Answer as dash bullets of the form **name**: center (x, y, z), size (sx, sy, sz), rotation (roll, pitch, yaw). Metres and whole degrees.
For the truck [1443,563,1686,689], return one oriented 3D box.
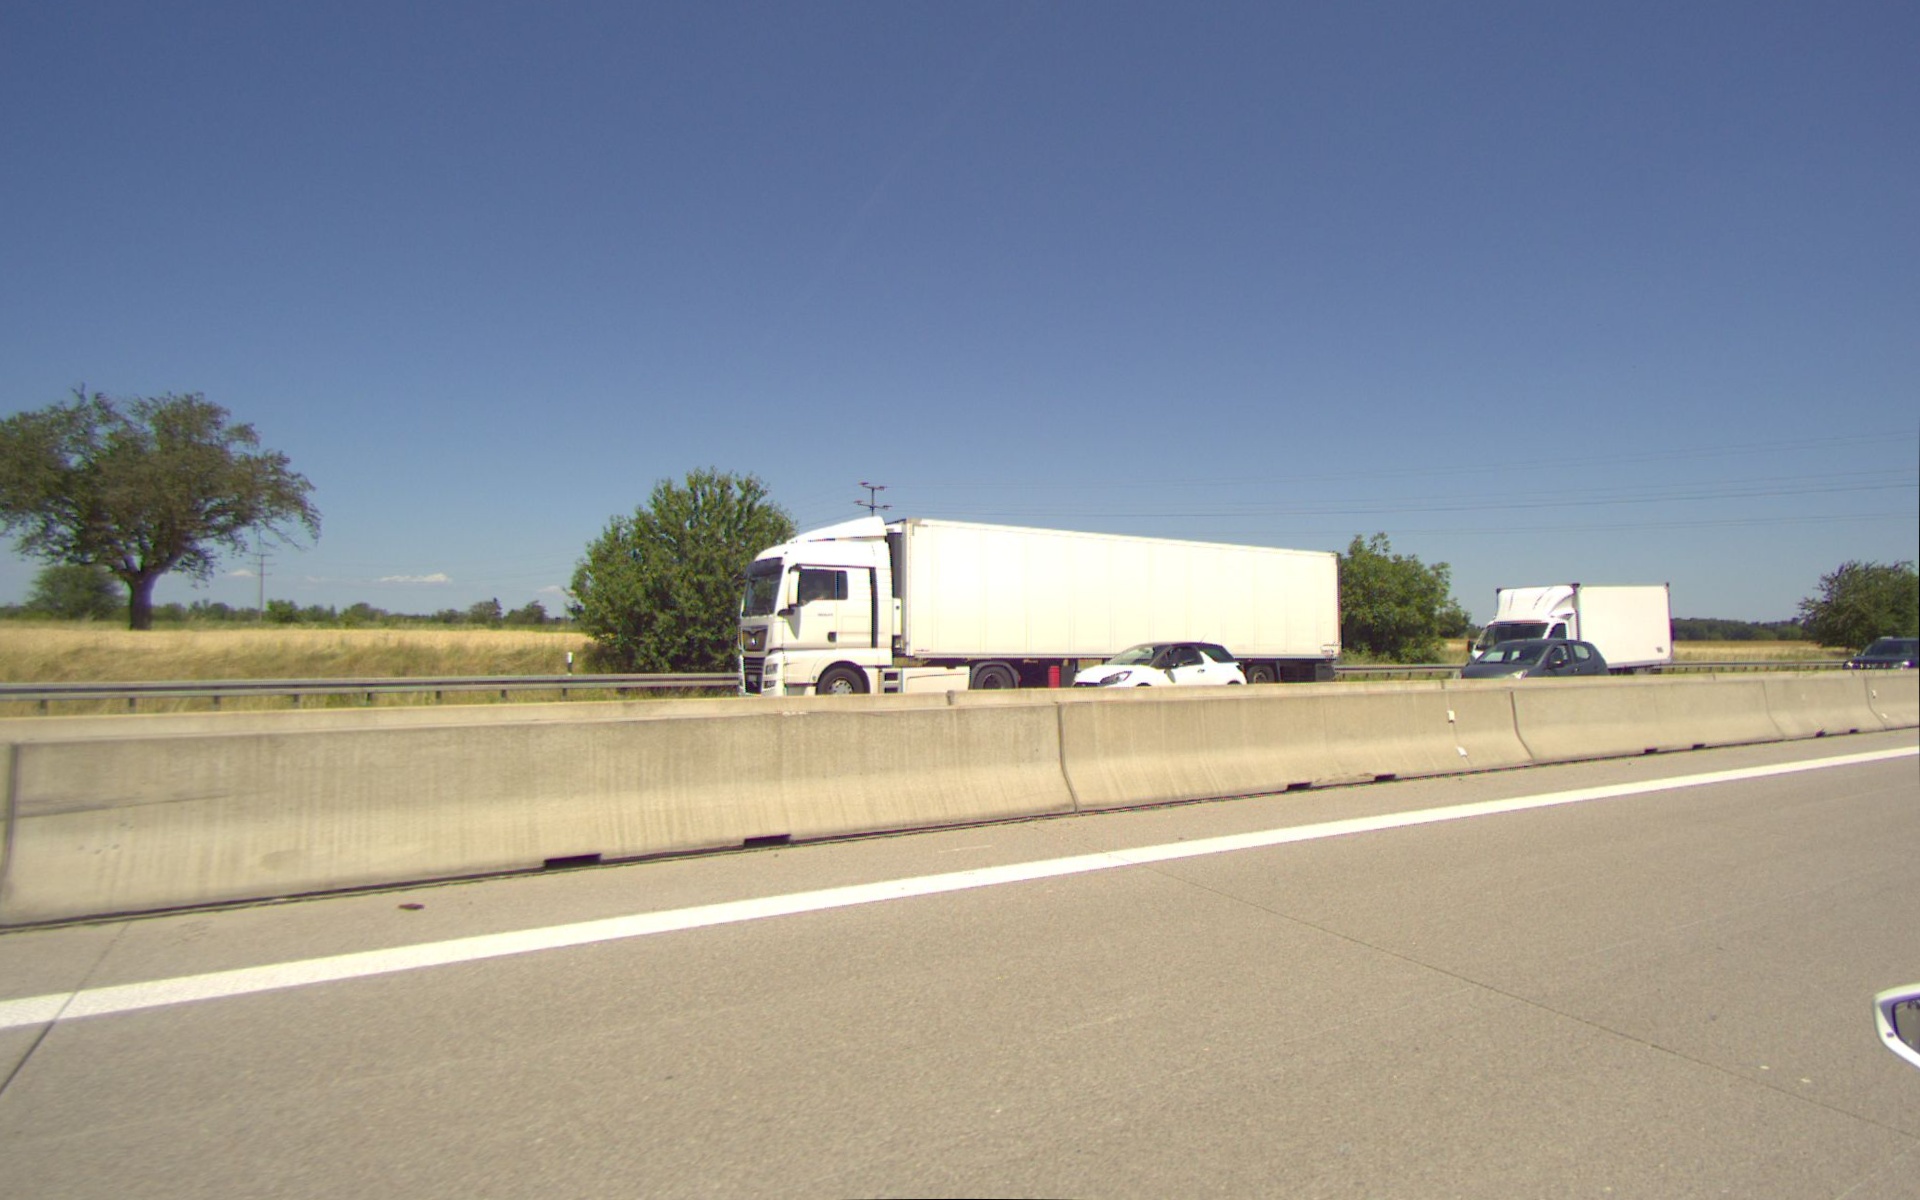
- **truck**: center (17.299, 0.766, 28.557), size (7.832, 3.183, 2.534), rotation (2, -1, -31)

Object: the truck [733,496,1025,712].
- **truck**: center (-1.724, 0.136, 21.721), size (5.610, 4.098, 2.806), rotation (1, 0, -30)

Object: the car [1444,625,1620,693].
- **car**: center (11.184, 1.116, 19.611), size (3.336, 1.179, 1.535), rotation (1, 0, -31)

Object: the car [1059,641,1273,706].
- **car**: center (4.270, 1.452, 20.606), size (4.347, 1.162, 1.672), rotation (2, -1, -31)

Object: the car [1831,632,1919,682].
- **car**: center (28.405, 1.687, 30.327), size (4.439, 1.369, 1.838), rotation (1, -1, -30)

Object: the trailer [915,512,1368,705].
- **trailer**: center (5.080, 0.328, 25.702), size (12.527, 4.098, 2.807), rotation (2, 0, -30)
